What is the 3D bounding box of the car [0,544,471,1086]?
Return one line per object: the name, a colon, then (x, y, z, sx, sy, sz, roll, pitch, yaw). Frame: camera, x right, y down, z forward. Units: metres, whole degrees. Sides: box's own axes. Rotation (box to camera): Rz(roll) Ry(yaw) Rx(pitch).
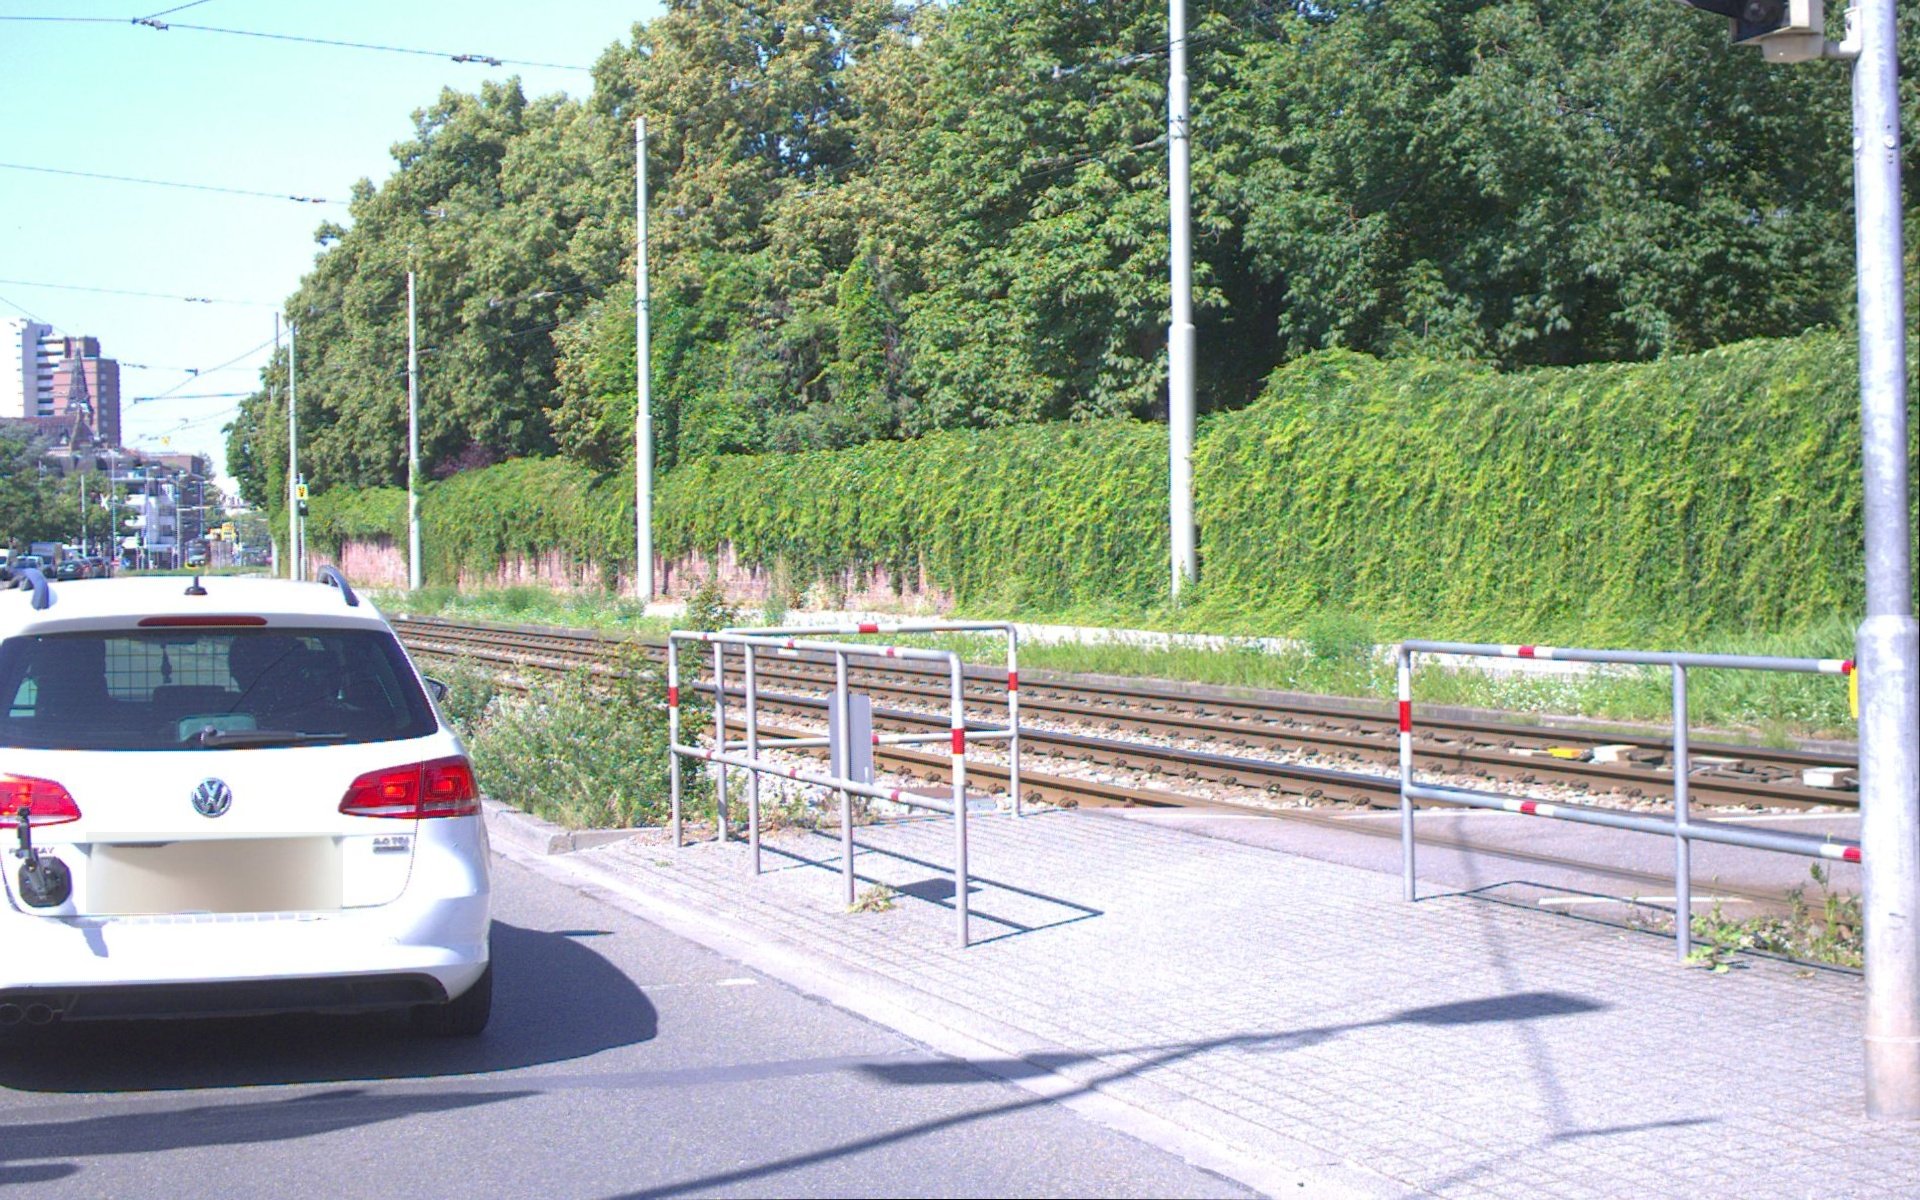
car: (-2.785, 0.553, 11.440, 1.691, 1.446, 4.460, 0, 1, -16)
